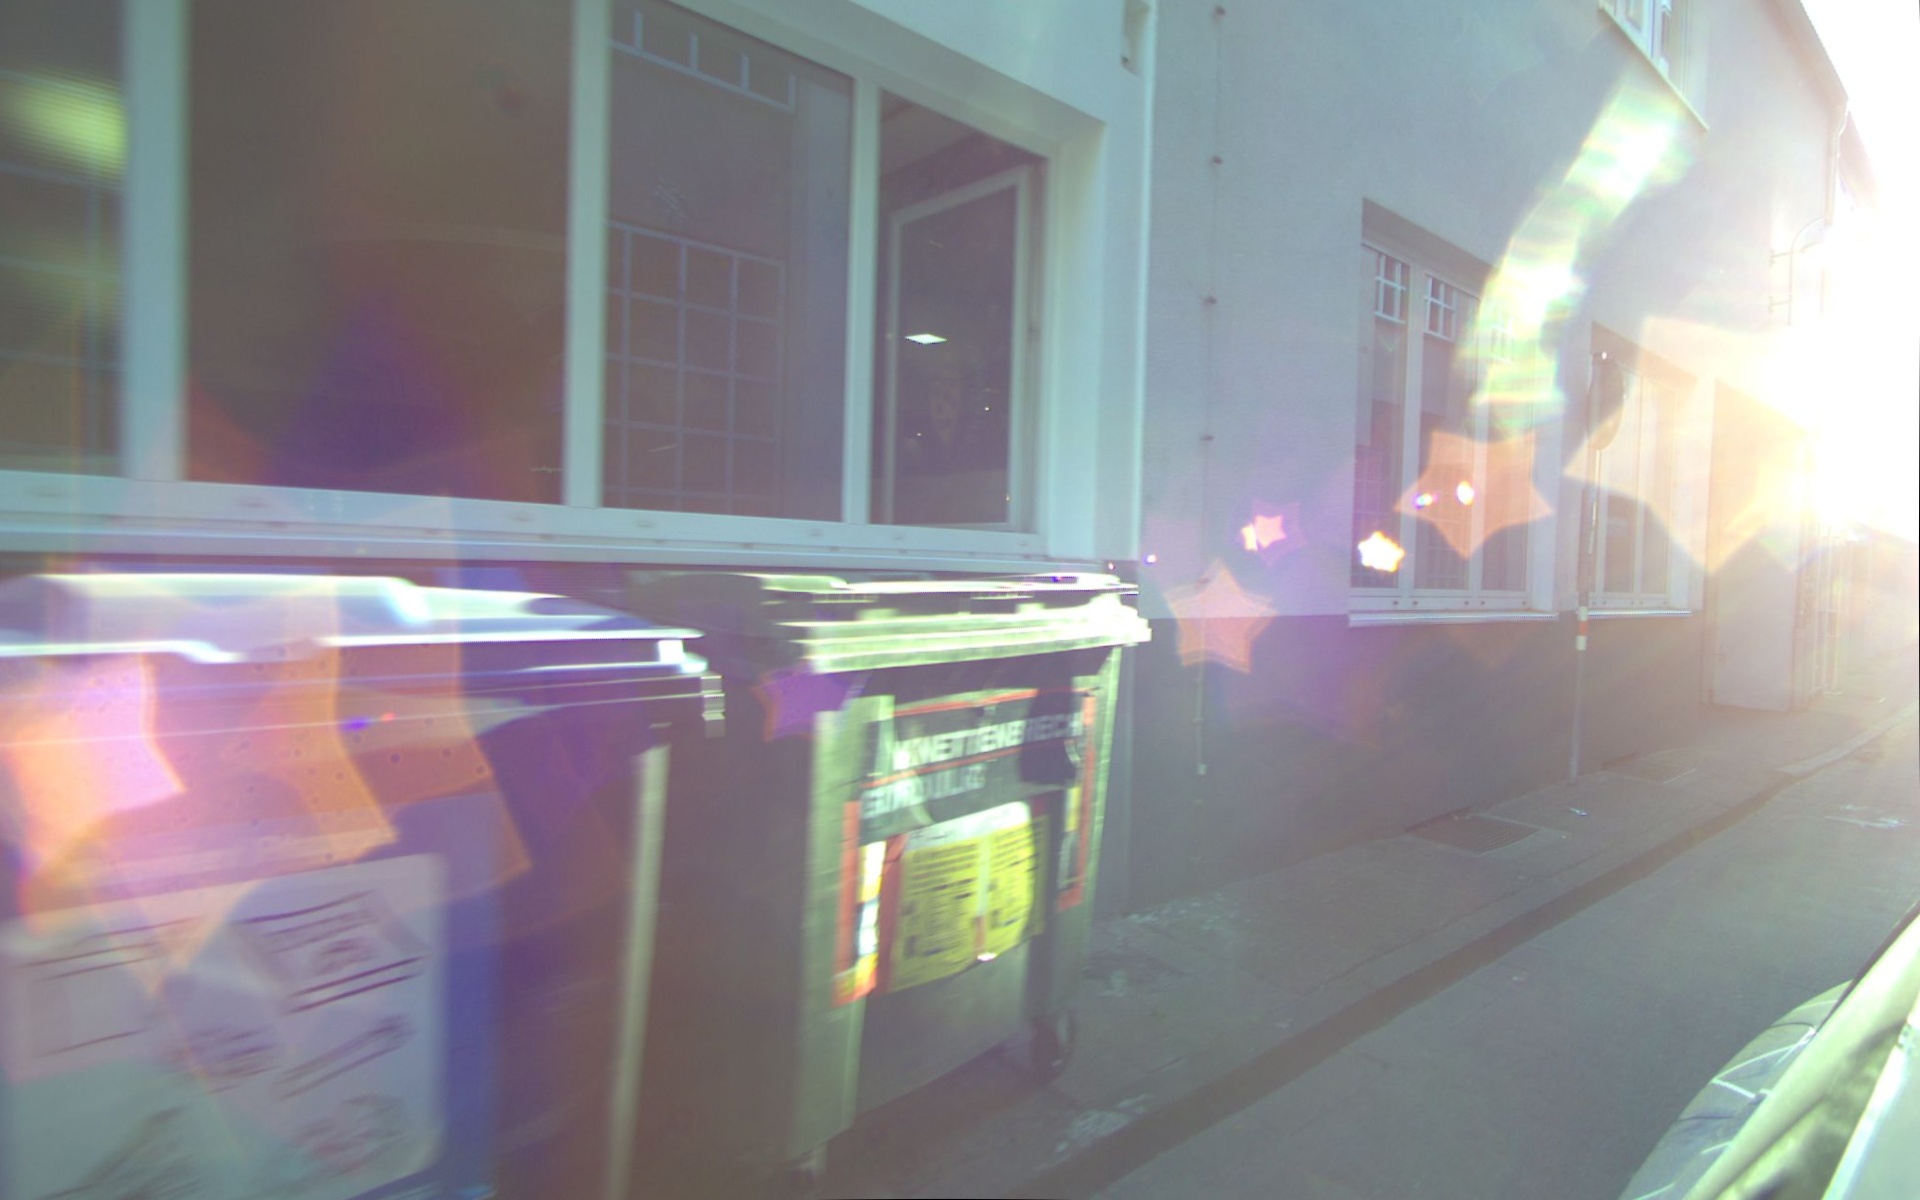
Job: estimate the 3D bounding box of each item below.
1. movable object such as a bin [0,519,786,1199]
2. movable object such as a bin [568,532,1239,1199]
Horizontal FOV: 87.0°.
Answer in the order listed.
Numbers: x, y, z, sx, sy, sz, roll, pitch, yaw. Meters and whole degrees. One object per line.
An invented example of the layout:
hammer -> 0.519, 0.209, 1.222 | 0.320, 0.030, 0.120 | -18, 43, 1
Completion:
movable object such as a bin -> -1.148, 0.589, 1.594 | 1.319, 1.383, 1.066 | 0, 4, -43
movable object such as a bin -> -0.095, 0.564, 2.486 | 0.937, 1.383, 1.321 | 5, 4, 43
